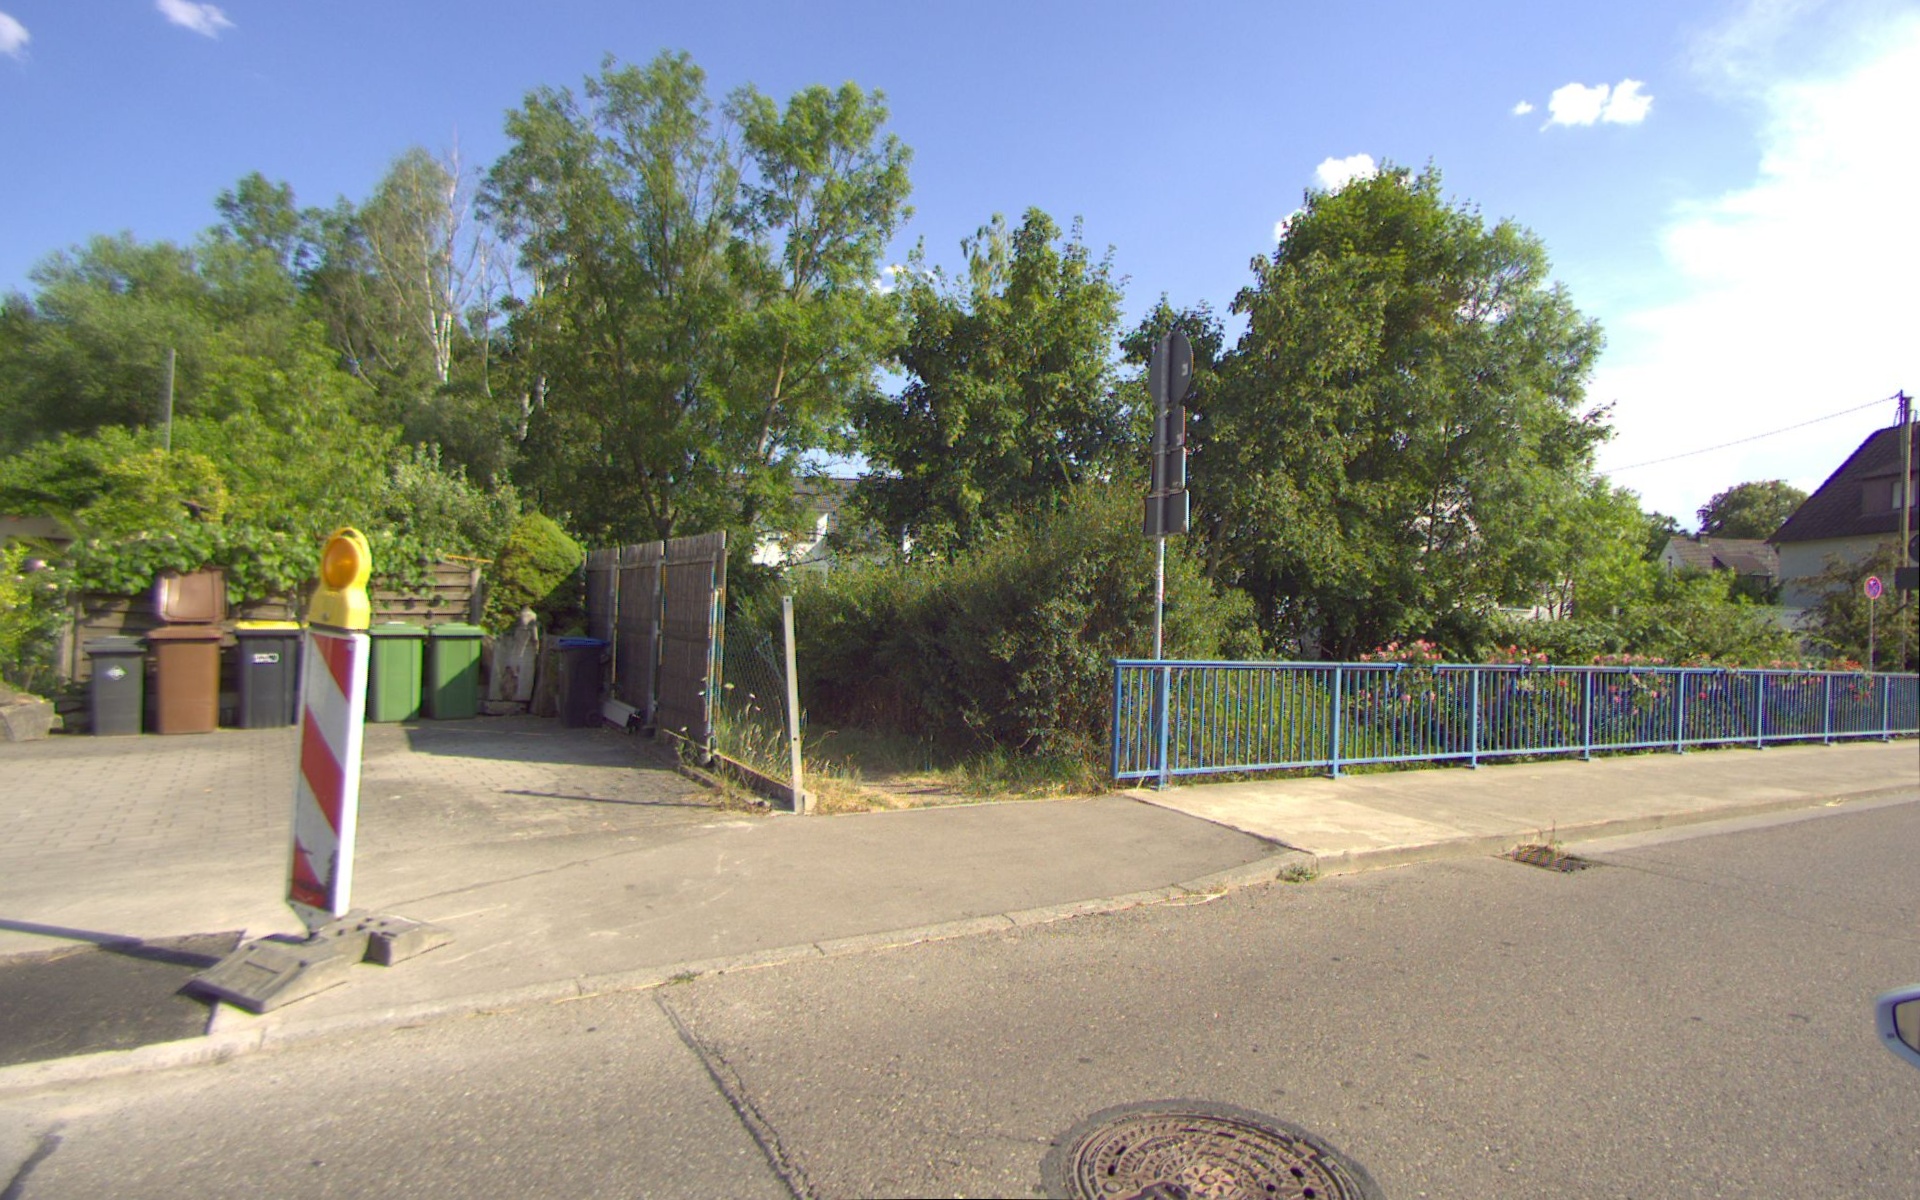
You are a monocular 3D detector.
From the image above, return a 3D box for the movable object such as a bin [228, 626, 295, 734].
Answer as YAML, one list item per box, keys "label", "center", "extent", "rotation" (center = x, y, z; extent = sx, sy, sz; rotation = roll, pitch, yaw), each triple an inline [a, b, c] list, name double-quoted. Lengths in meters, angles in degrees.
- label: "movable object such as a bin"
  center: [-7.229, 0.807, 10.409]
  extent: [0.544, 1.064, 0.543]
  rotation: [1, 0, -35]

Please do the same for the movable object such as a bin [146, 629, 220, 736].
- label: "movable object such as a bin"
  center: [-7.698, 0.803, 9.970]
  extent: [0.544, 1.003, 0.543]
  rotation: [1, 0, -35]

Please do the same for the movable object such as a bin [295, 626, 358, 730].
- label: "movable object such as a bin"
  center: [-6.792, 0.816, 10.765]
  extent: [0.544, 1.064, 0.543]
  rotation: [1, 0, -35]

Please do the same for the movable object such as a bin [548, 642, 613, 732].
- label: "movable object such as a bin"
  center: [-4.162, 0.935, 11.008]
  extent: [0.585, 0.930, 0.589]
  rotation: [1, 0, -29]

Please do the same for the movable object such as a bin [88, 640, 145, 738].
- label: "movable object such as a bin"
  center: [-8.130, 0.844, 9.688]
  extent: [0.367, 0.894, 0.460]
  rotation: [1, 0, -35]

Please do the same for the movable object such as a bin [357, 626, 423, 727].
- label: "movable object such as a bin"
  center: [-6.311, 0.827, 11.121]
  extent: [0.587, 1.064, 0.543]
  rotation: [1, 0, -35]

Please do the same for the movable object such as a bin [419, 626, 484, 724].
- label: "movable object such as a bin"
  center: [-5.815, 0.835, 11.480]
  extent: [0.587, 1.064, 0.543]
  rotation: [1, 0, -35]
